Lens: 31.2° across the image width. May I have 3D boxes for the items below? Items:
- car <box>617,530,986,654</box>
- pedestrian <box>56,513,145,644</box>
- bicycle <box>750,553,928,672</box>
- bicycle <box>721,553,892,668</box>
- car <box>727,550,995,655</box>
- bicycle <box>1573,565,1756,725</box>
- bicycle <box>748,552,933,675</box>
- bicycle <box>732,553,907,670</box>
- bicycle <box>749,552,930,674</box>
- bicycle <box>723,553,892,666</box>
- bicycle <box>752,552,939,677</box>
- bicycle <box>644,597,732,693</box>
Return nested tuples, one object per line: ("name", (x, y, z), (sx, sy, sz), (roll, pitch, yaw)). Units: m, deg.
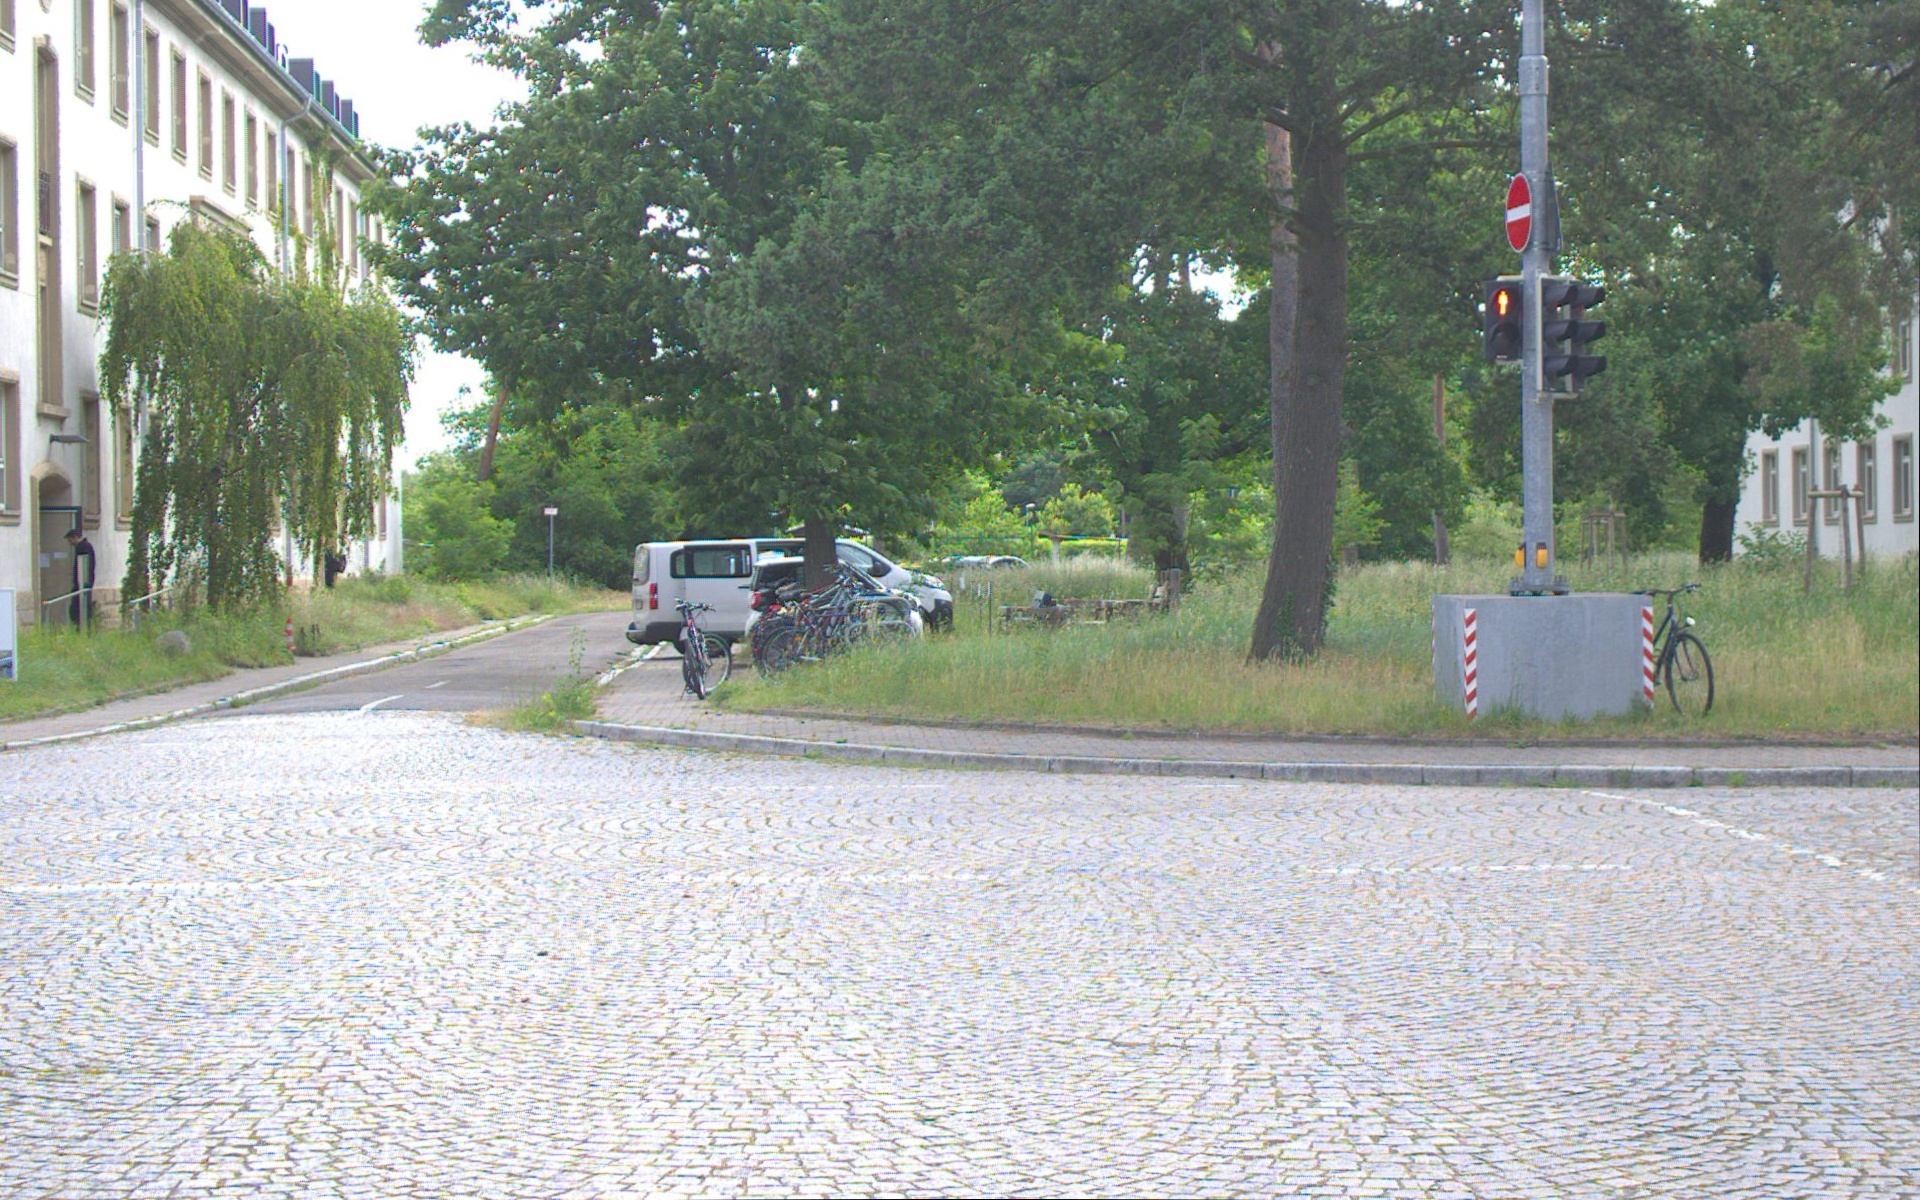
("car", (-2.616, -0.156, 56.334), (5.690, 1.904, 2.231), (-1, 1, -14))
("pedestrian", (-13.378, -0.340, 53.536), (1.087, 2.007, 1.021), (-1, 1, 3))
("bicycle", (-1.422, 0.140, 40.570), (2.069, 1.373, 0.620), (-1, 1, -2))
("bicycle", (-1.875, 0.121, 42.091), (2.069, 1.373, 0.620), (-1, 1, -2))
("car", (-1.557, 0.027, 53.003), (3.931, 1.539, 2.000), (-1, 1, -7))
("bicycle", (5.397, 0.321, 26.449), (0.908, 1.173, 1.874), (-1, 1, -4))
("bicycle", (-1.358, 0.149, 39.149), (2.069, 1.373, 0.620), (-1, 1, -2))
("bicycle", (-1.688, 0.128, 41.359), (2.069, 1.373, 0.620), (-1, 1, -2))
("bicycle", (-1.391, 0.145, 39.773), (2.069, 1.373, 0.620), (-1, 1, -2))
("bicycle", (-1.897, 0.116, 42.838), (2.069, 1.373, 0.620), (-1, 1, -2))
("bicycle", (-1.281, 0.155, 38.481), (2.069, 1.373, 0.620), (-1, 1, -2))
("bicycle", (-2.887, 0.469, 36.627), (0.618, 0.960, 2.076), (-1, 1, 4))
